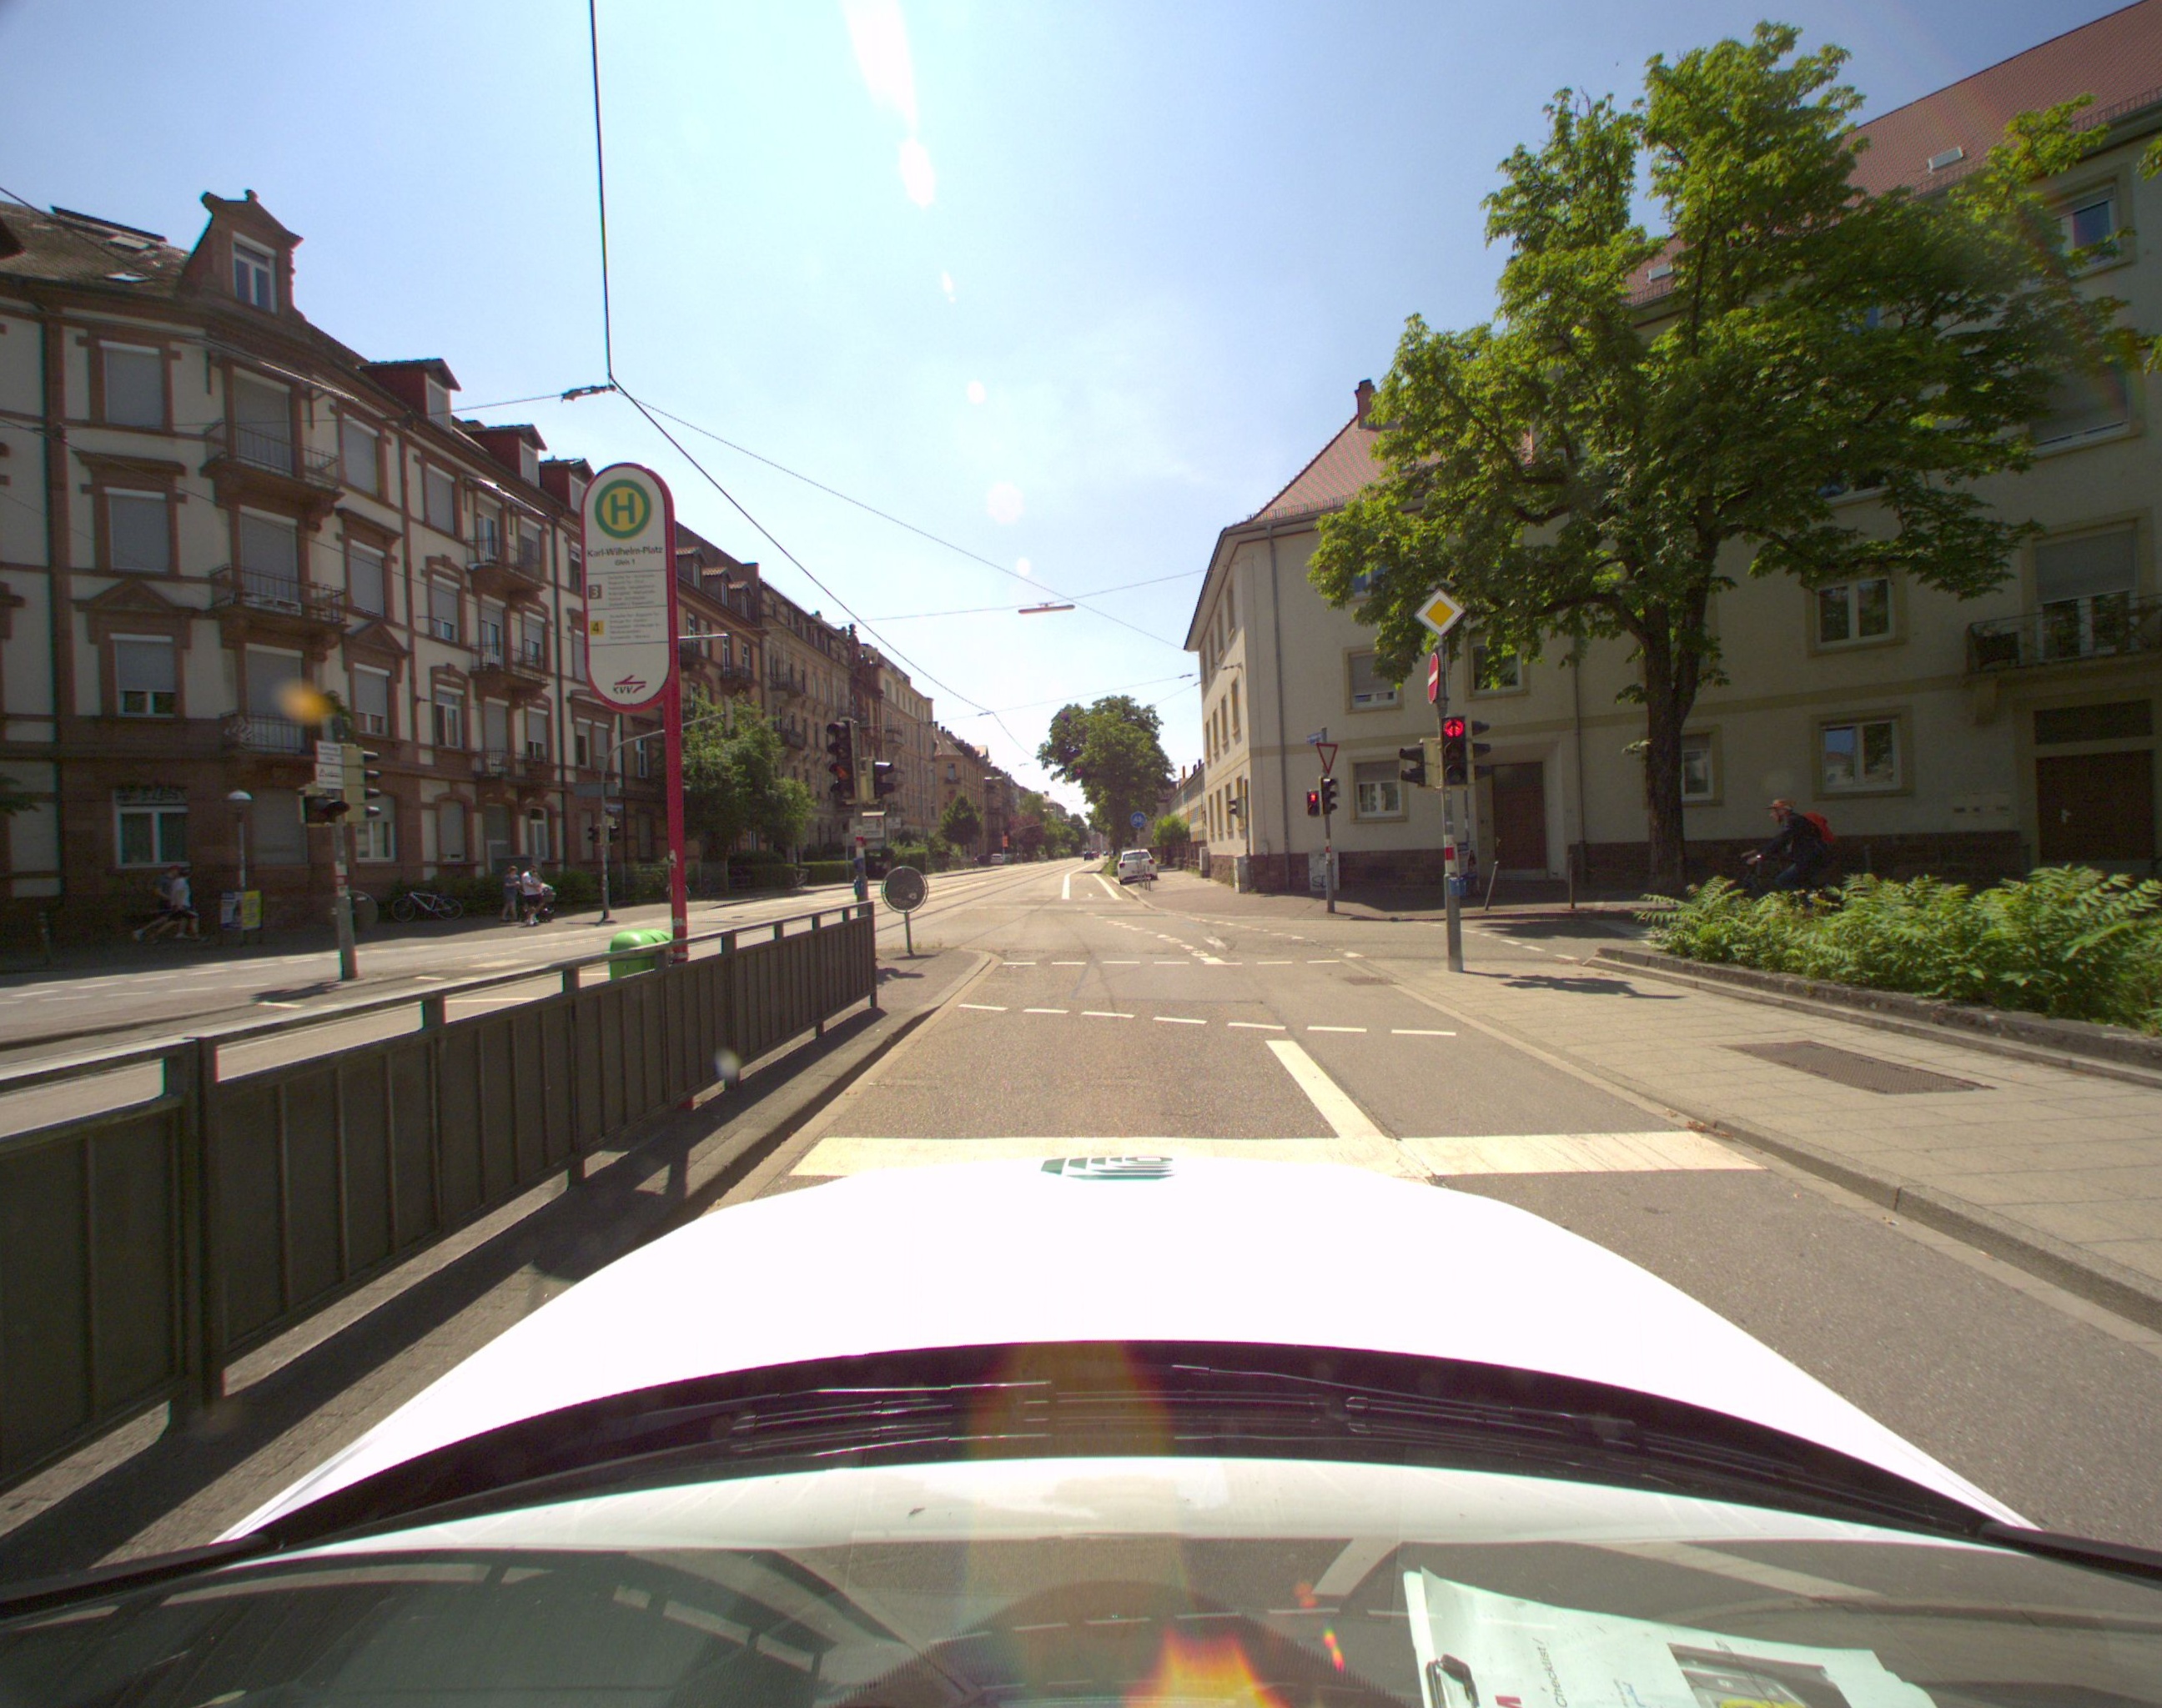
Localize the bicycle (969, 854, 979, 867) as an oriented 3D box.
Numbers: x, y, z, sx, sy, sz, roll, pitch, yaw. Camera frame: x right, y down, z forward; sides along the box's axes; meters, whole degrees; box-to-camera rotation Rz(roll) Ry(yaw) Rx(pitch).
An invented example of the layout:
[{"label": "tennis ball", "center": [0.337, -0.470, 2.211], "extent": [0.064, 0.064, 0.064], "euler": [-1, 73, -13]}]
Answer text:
[{"label": "bicycle", "center": [-11.626, 0.747, 88.609], "extent": [0.575, 1.388, 2.502], "euler": [-2, 0, 2]}]

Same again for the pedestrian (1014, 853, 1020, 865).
[{"label": "pedestrian", "center": [-9.518, 0.728, 121.333], "extent": [0.675, 1.727, 0.678], "euler": [-2, -1, 1]}]

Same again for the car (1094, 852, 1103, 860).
[{"label": "car", "center": [3.633, 0.392, 172.848], "extent": [1.741, 1.472, 3.939], "euler": [-5, 0, 1]}]

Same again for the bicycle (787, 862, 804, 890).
[{"label": "bicycle", "center": [-14.463, 1.103, 41.255], "extent": [0.594, 1.356, 2.420], "euler": [-1, 0, -24]}]

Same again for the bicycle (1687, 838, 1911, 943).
[{"label": "bicycle", "center": [9.067, 0.454, 10.410], "extent": [2.060, 1.236, 0.584], "euler": [-2, -1, 35]}]

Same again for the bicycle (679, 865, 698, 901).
[{"label": "bicycle", "center": [-15.721, 1.145, 32.633], "extent": [0.617, 1.395, 2.289], "euler": [-1, 0, -24]}]

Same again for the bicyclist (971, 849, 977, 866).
[{"label": "bicyclist", "center": [-11.624, 0.363, 88.525], "extent": [0.540, 1.763, 0.498], "euler": [-2, -1, 1]}]

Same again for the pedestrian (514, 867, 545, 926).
[{"label": "pedestrian", "center": [-15.690, 1.200, 23.177], "extent": [0.657, 1.615, 0.464], "euler": [-1, 2, -40]}]

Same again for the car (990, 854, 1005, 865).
[{"label": "car", "center": [-11.858, 0.791, 116.111], "extent": [1.679, 1.472, 3.937], "euler": [-5, 0, 0]}]

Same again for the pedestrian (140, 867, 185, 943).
[{"label": "pedestrian", "center": [-22.169, 1.215, 19.665], "extent": [0.508, 1.768, 0.525], "euler": [-1, -1, -20]}]

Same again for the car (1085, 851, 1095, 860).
[{"label": "car", "center": [1.576, 0.220, 139.224], "extent": [1.519, 1.444, 3.367], "euler": [-4, 0, 2]}]

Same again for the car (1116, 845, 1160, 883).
[{"label": "car", "center": [2.547, 0.431, 37.262], "extent": [1.741, 1.472, 3.939], "euler": [-5, 0, 1]}]

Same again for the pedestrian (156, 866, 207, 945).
[{"label": "pedestrian", "center": [-21.313, 1.208, 19.307], "extent": [0.565, 1.825, 0.631], "euler": [-1, -1, -20]}]

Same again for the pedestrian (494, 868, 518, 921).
[{"label": "pedestrian", "center": [-16.905, 1.188, 23.937], "extent": [0.510, 1.516, 0.464], "euler": [-1, -1, -40]}]

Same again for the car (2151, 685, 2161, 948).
[{"label": "car", "center": [12.544, -0.358, 5.858], "extent": [2.010, 2.590, 5.784], "euler": [-2, 0, -37]}]

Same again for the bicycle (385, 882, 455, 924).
[{"label": "bicycle", "center": [-19.461, 1.429, 23.998], "extent": [1.522, 1.169, 0.362], "euler": [-1, 1, -25]}]

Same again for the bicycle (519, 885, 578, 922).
[{"label": "bicycle", "center": [-15.714, 1.448, 24.042], "extent": [1.410, 1.013, 0.384], "euler": [-1, 0, -39]}]

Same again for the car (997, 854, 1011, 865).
[{"label": "car", "center": [-11.778, 0.812, 124.417], "extent": [1.623, 1.472, 3.563], "euler": [-5, 0, 0]}]

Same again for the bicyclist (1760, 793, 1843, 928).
[{"label": "bicyclist", "center": [9.132, 0.087, 10.349], "extent": [0.687, 1.646, 0.584], "euler": [-2, -1, 35]}]
